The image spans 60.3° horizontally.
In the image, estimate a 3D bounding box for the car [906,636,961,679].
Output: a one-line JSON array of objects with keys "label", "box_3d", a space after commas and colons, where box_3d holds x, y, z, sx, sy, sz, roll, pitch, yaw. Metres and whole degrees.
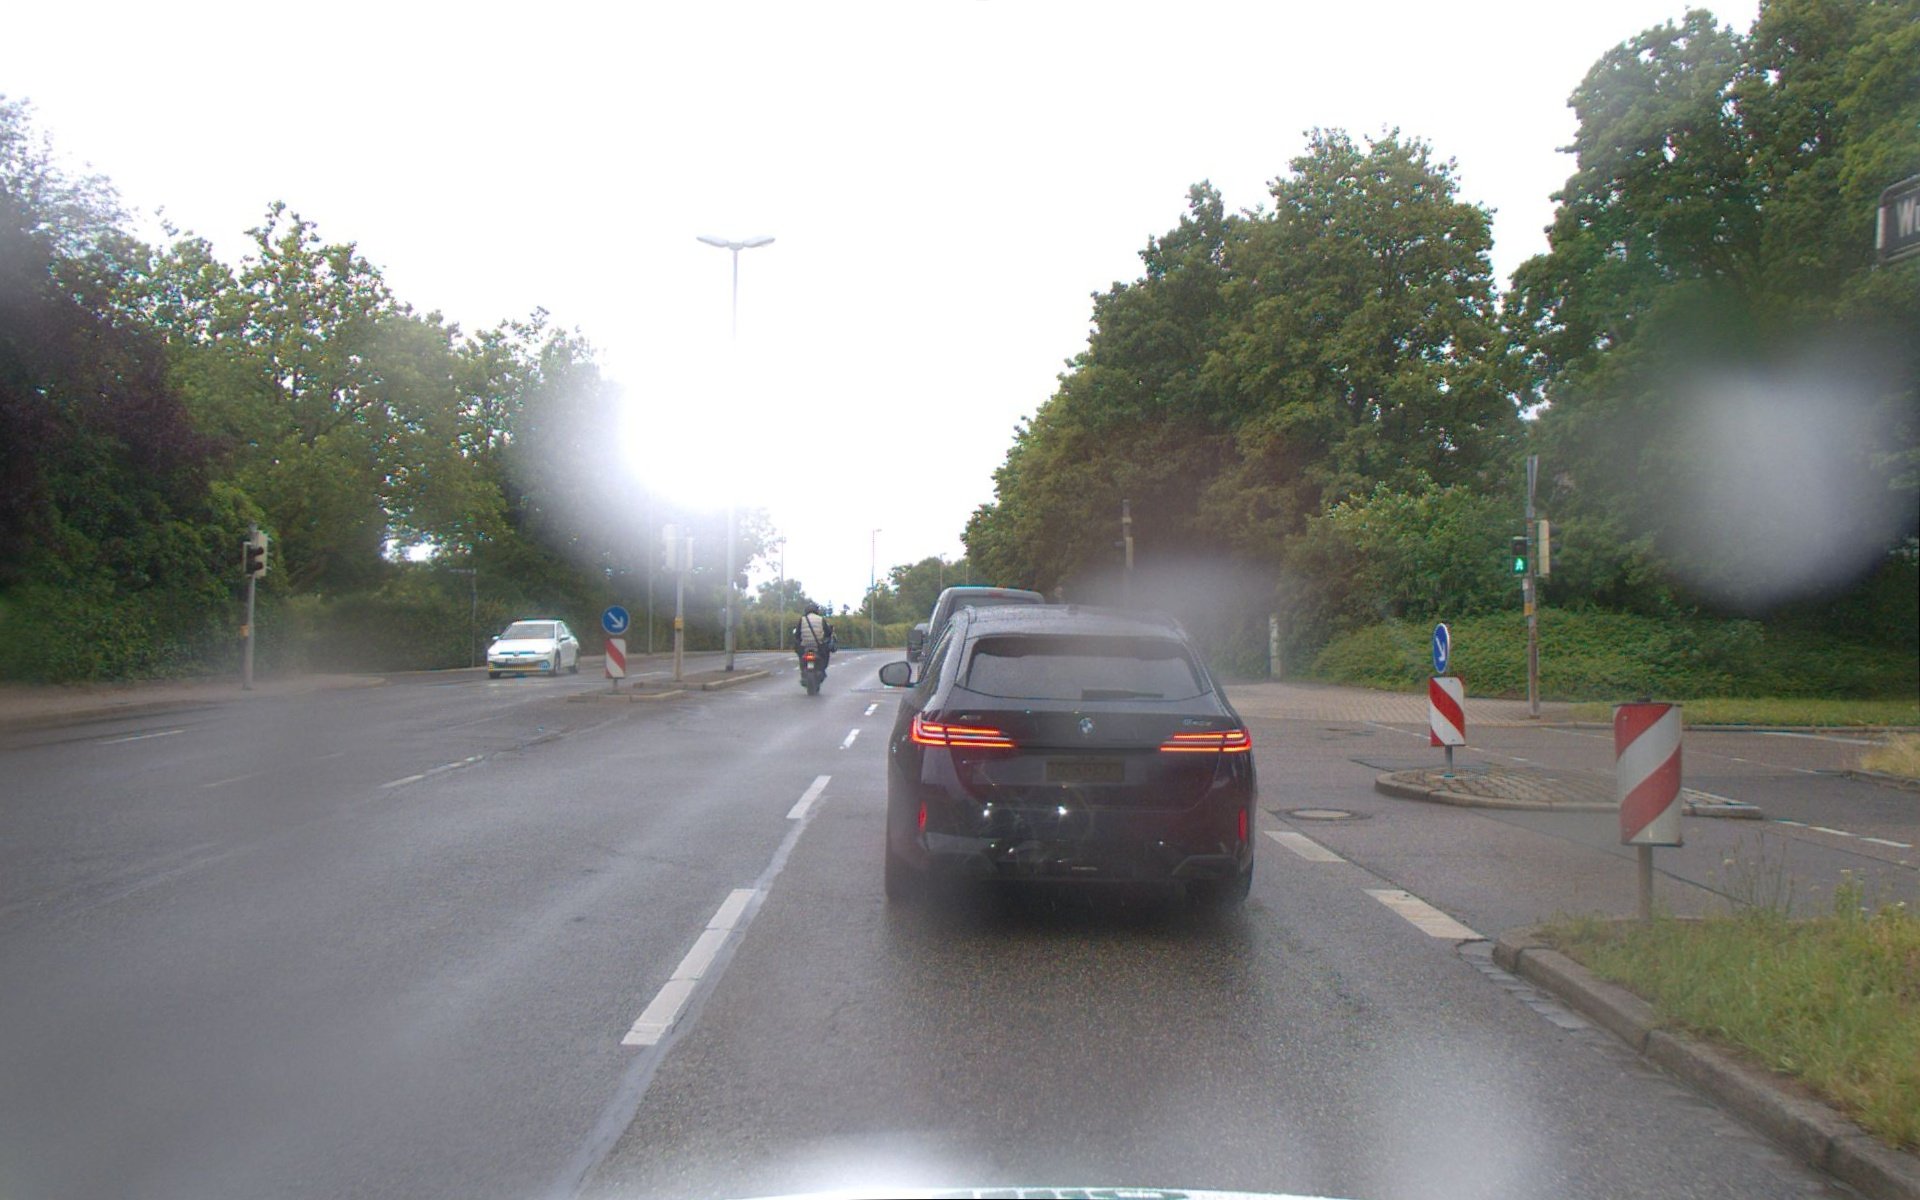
[{"label": "car", "box_3d": [-0.979, 2.180, 63.412, 1.973, 1.440, 4.486, 1, 0, 0]}]

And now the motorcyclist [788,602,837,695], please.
[{"label": "motorcyclist", "box_3d": [-2.682, 0.882, 30.151, 0.828, 1.676, 0.468, 1, 0, 0]}]

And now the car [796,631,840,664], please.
[{"label": "car", "box_3d": [-7.348, 2.453, 86.032, 1.984, 1.590, 3.876, -1, -1, -1]}]

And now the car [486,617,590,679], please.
[{"label": "car", "box_3d": [-11.164, 1.245, 43.980, 1.692, 1.511, 4.156, -1, 0, -1]}]

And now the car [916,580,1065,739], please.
[{"label": "car", "box_3d": [0.378, 0.700, 21.604, 1.730, 1.841, 3.905, 1, 0, 0]}]

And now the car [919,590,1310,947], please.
[{"label": "car", "box_3d": [0.707, 0.756, 9.259, 1.728, 1.563, 3.673, 1, 0, 0]}]

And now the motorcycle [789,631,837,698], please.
[{"label": "motorcycle", "box_3d": [-2.668, 1.161, 30.140, 0.726, 1.139, 1.426, 1, 0, 0]}]
